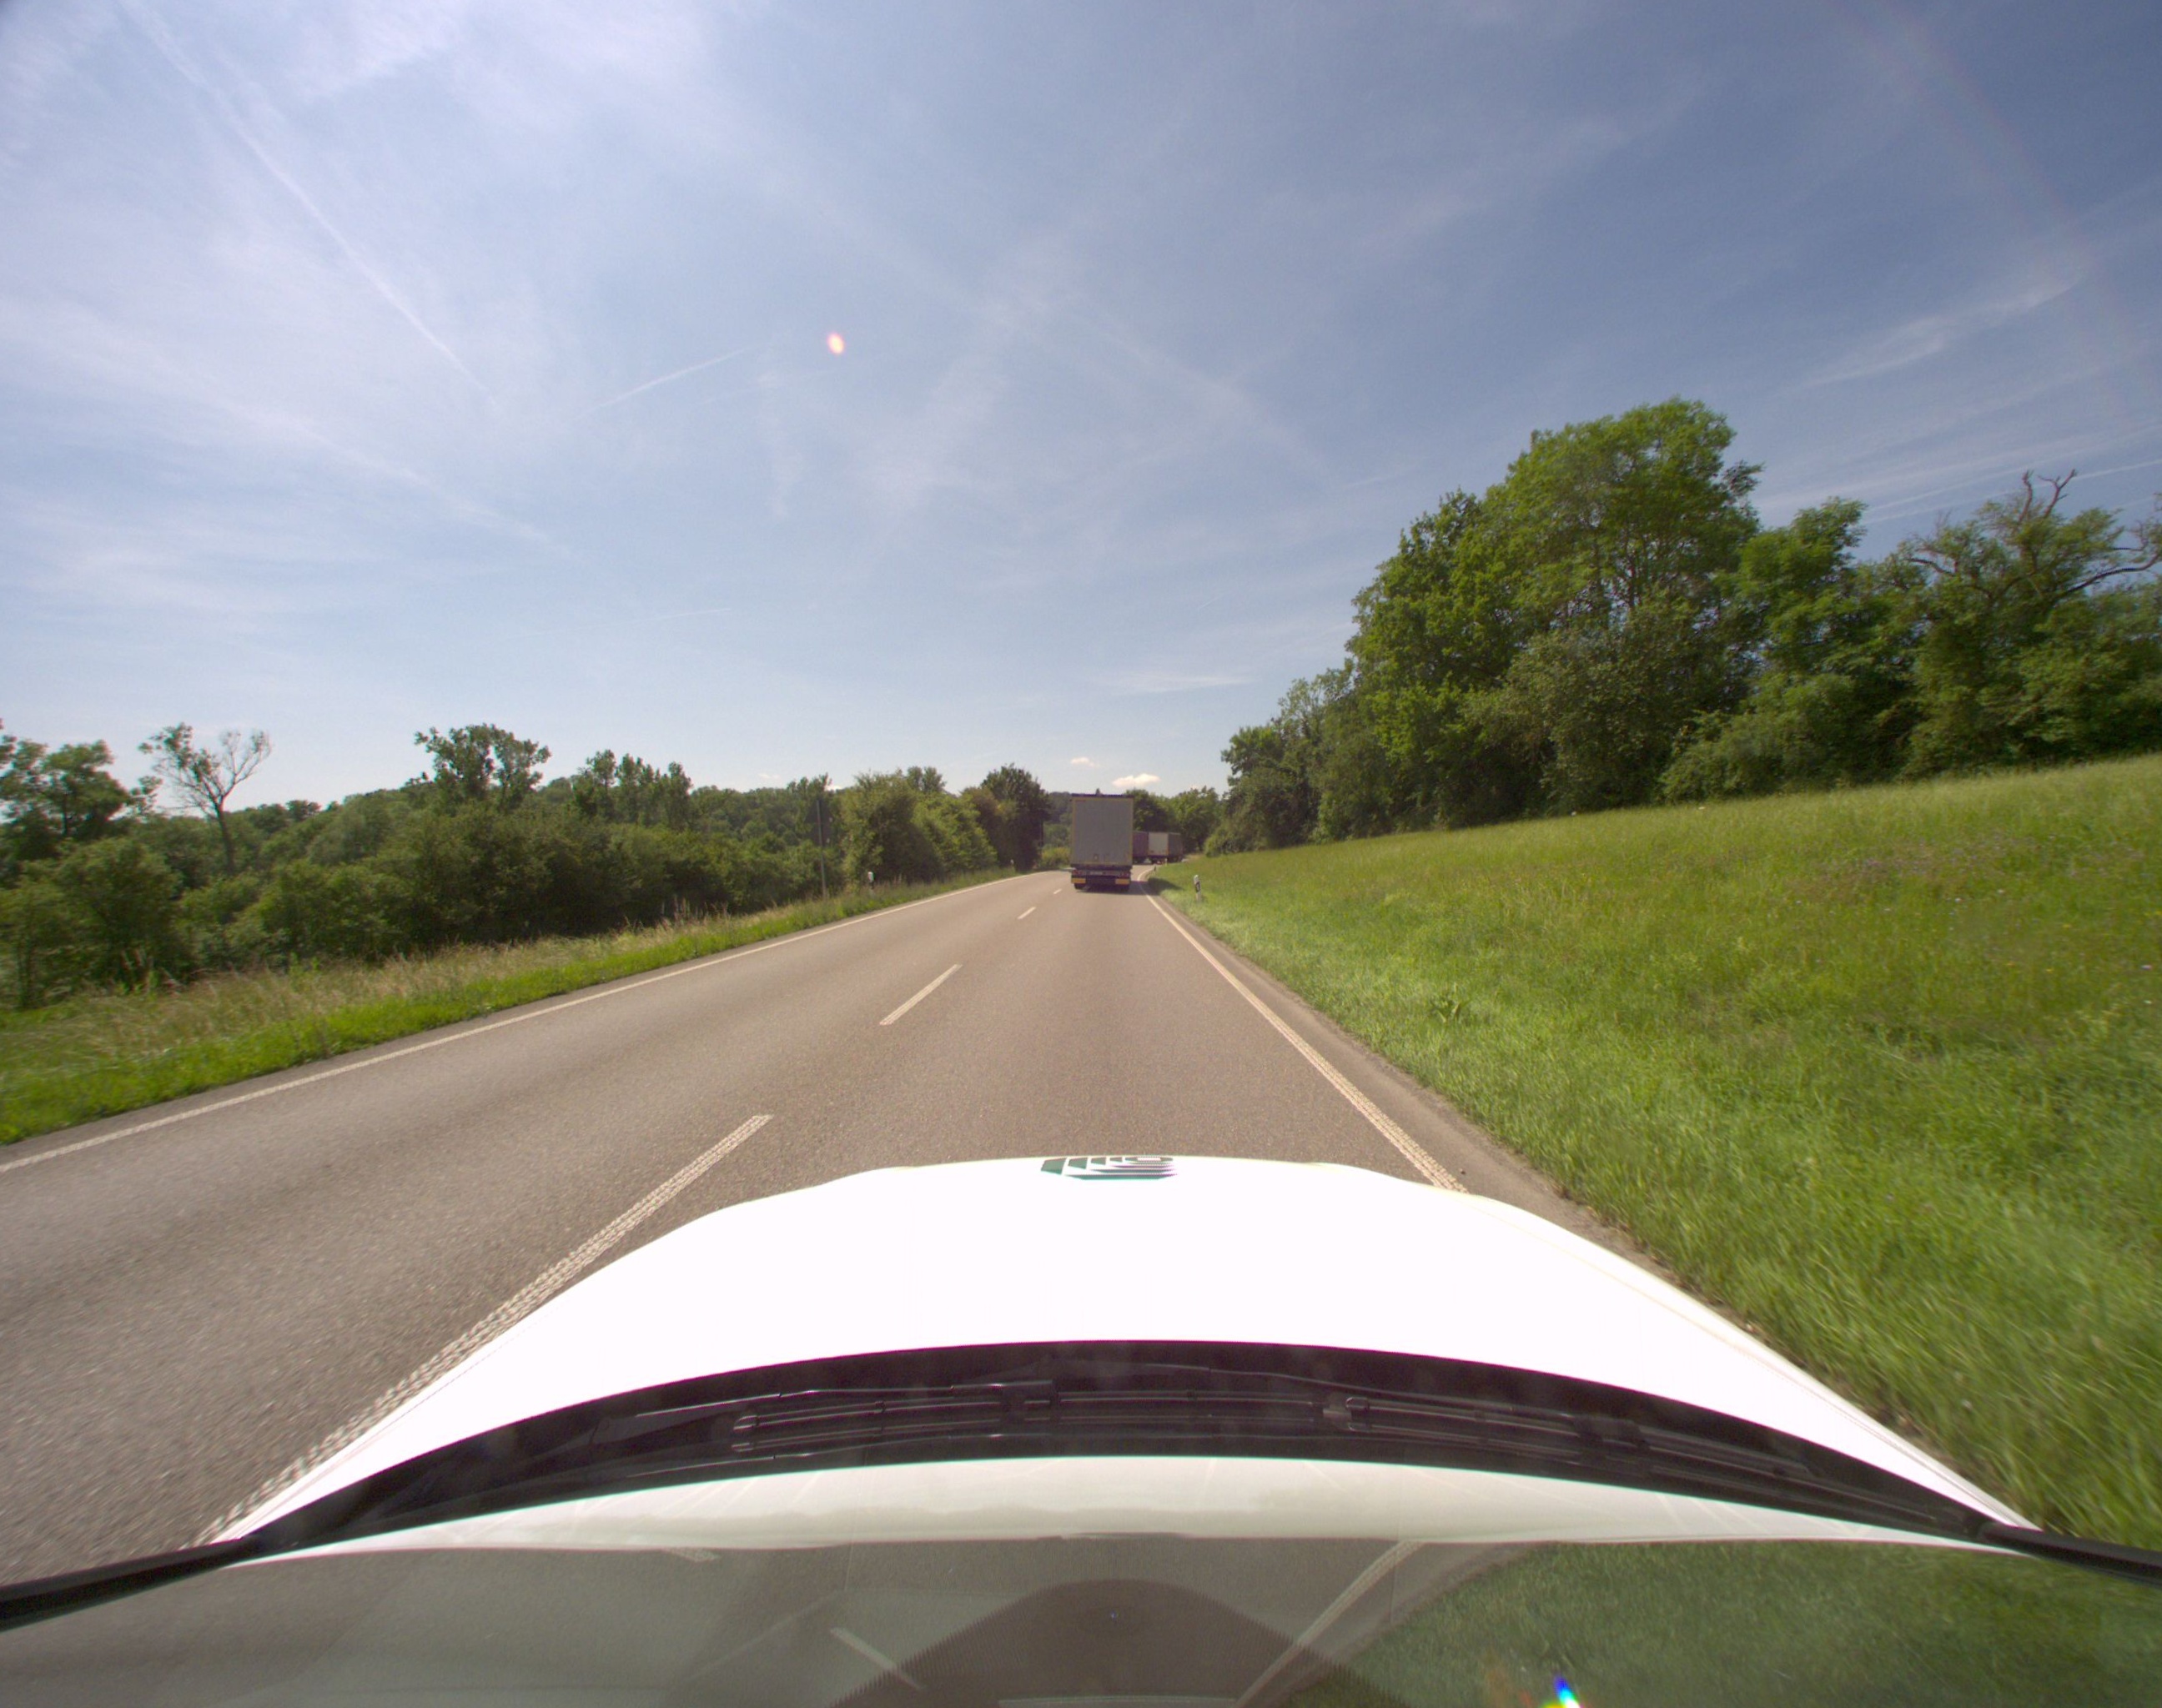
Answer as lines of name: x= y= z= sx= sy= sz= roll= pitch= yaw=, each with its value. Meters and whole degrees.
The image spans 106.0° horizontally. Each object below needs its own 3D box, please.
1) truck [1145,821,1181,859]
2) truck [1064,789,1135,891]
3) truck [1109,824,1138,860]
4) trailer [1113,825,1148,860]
truck: x=11.037 y=-1.841 z=107.983 sx=3.085 sy=4.705 sz=16.642 roll=0 pitch=1 yaw=11
truck: x=1.057 y=-0.539 z=40.273 sx=2.790 sy=4.068 sz=15.334 roll=1 pitch=0 yaw=2
truck: x=5.135 y=-1.379 z=97.408 sx=2.543 sy=4.115 sz=5.817 roll=2 pitch=0 yaw=11
trailer: x=6.438 y=-1.340 z=104.161 sx=2.552 sy=4.108 sz=13.704 roll=2 pitch=0 yaw=11
